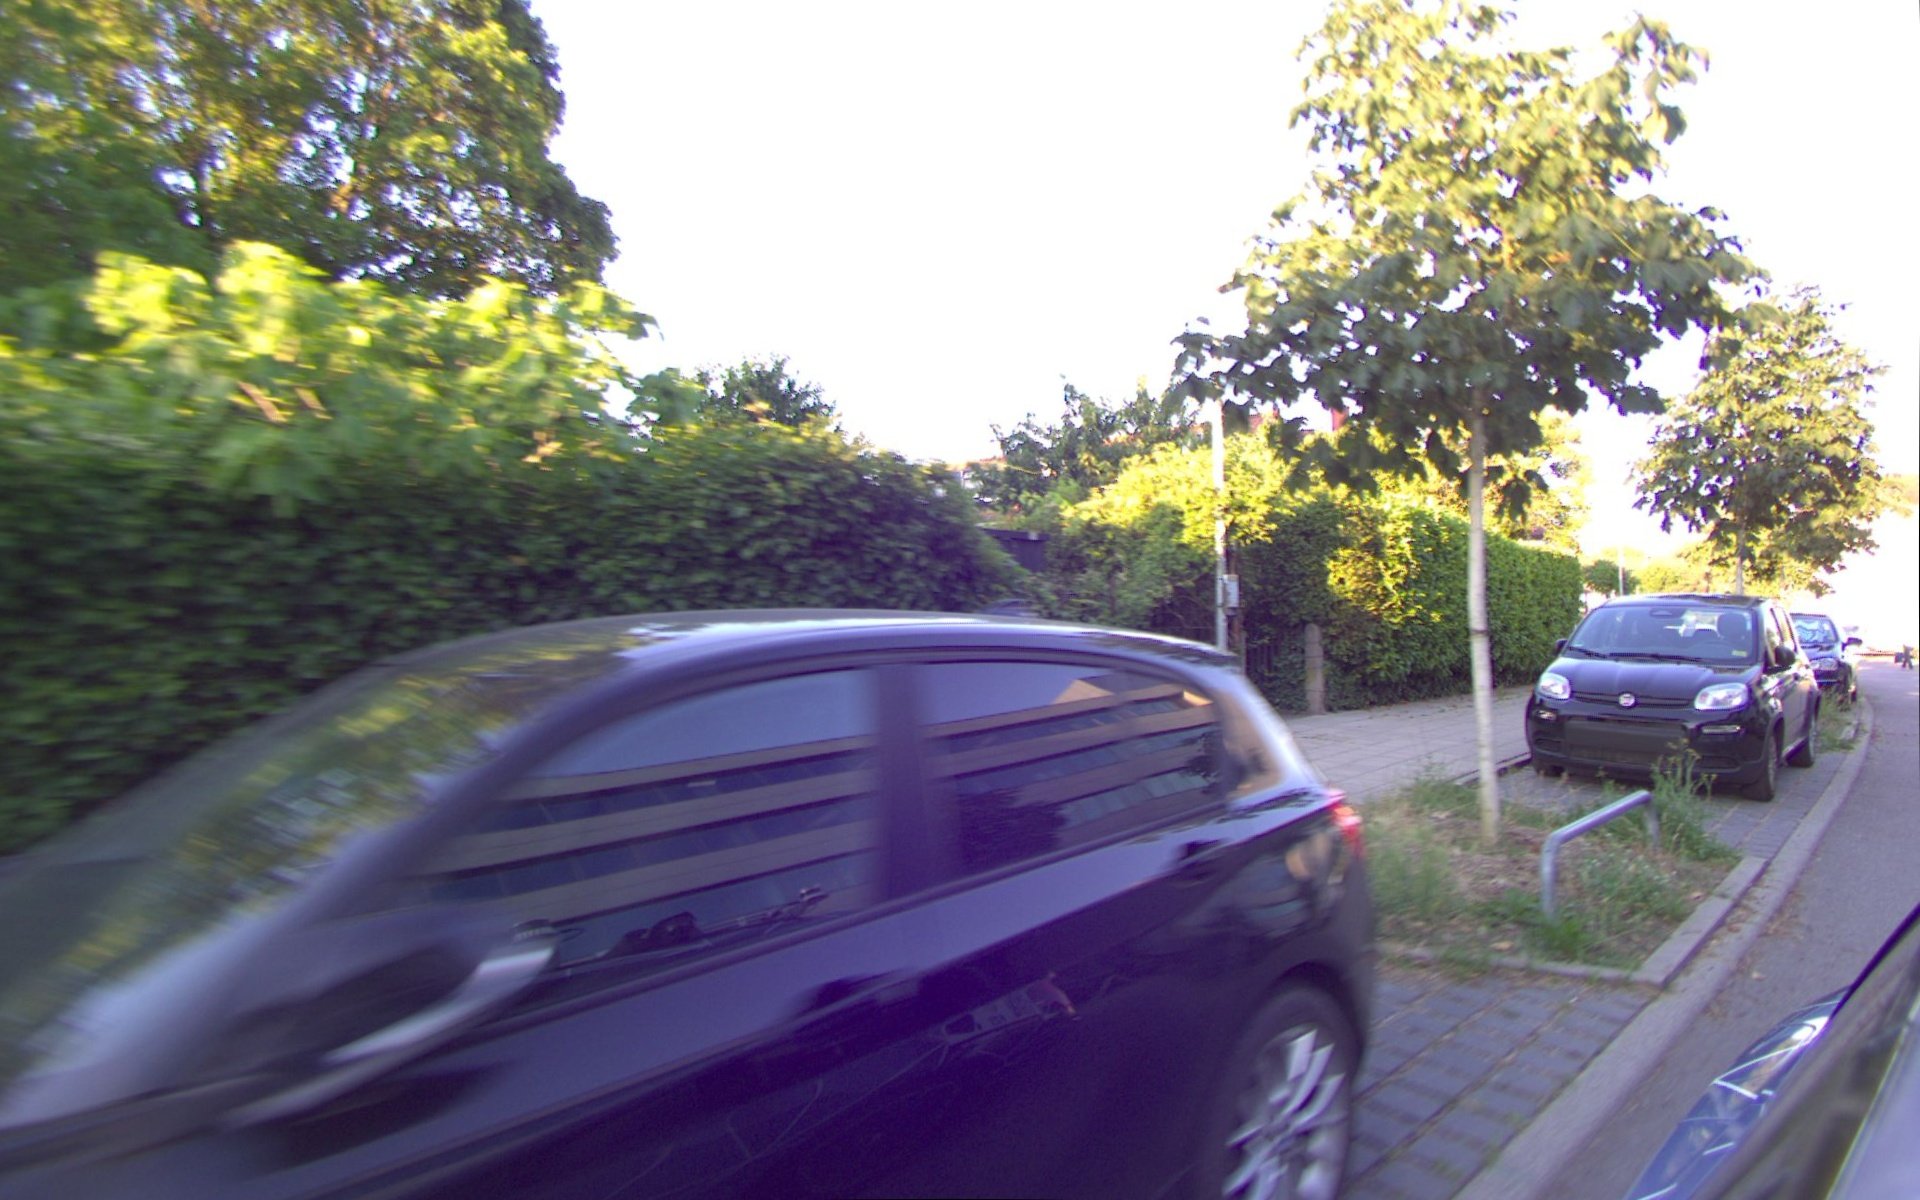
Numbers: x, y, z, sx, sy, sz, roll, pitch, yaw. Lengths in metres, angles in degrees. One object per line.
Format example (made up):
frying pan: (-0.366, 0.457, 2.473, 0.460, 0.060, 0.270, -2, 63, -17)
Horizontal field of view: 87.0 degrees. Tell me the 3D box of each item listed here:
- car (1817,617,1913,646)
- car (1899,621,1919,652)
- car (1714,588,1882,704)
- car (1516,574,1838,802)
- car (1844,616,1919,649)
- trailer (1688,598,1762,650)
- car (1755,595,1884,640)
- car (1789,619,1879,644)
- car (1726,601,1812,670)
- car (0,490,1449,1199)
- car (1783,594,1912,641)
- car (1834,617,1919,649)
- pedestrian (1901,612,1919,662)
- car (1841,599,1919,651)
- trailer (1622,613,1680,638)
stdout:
car: (53.002, 1.871, 59.350, 3.910, 1.611, 1.726, -3, -3, 34)
car: (49.119, 1.744, 49.983, 3.604, 1.539, 1.689, -3, -3, 27)
car: (13.217, 0.682, 15.859, 1.710, 1.570, 4.476, -1, -2, 43)
car: (6.167, 0.599, 8.574, 3.437, 1.529, 1.579, 0, -1, -43)
car: (51.267, 1.752, 55.260, 4.101, 1.611, 1.730, -4, -2, 29)
trailer: (34.766, 1.105, 46.125, 2.054, 2.240, 5.164, -1, -2, 30)
car: (59.509, 1.240, 70.208, 6.324, 2.748, 2.100, -3, -2, 19)
car: (55.544, 2.010, 64.411, 3.898, 1.527, 1.773, -2, -2, 26)
car: (26.926, 1.159, 33.780, 2.061, 2.122, 4.804, -1, -2, 38)
car: (-0.961, 0.680, 1.786, 4.117, 1.529, 1.696, 0, -1, -39)
car: (57.933, 1.196, 66.225, 5.779, 2.749, 2.033, -4, -3, 24)
car: (52.125, 1.838, 56.914, 4.098, 1.611, 1.732, -4, -2, 27)
pedestrian: (36.650, 1.404, 38.483, 0.885, 1.874, 0.855, 0, -2, 2)
car: (50.505, 1.235, 53.155, 5.856, 2.567, 2.385, -4, -3, 31)
trailer: (73.319, 2.677, 107.453, 4.760, 2.464, 2.114, -3, -1, 27)
